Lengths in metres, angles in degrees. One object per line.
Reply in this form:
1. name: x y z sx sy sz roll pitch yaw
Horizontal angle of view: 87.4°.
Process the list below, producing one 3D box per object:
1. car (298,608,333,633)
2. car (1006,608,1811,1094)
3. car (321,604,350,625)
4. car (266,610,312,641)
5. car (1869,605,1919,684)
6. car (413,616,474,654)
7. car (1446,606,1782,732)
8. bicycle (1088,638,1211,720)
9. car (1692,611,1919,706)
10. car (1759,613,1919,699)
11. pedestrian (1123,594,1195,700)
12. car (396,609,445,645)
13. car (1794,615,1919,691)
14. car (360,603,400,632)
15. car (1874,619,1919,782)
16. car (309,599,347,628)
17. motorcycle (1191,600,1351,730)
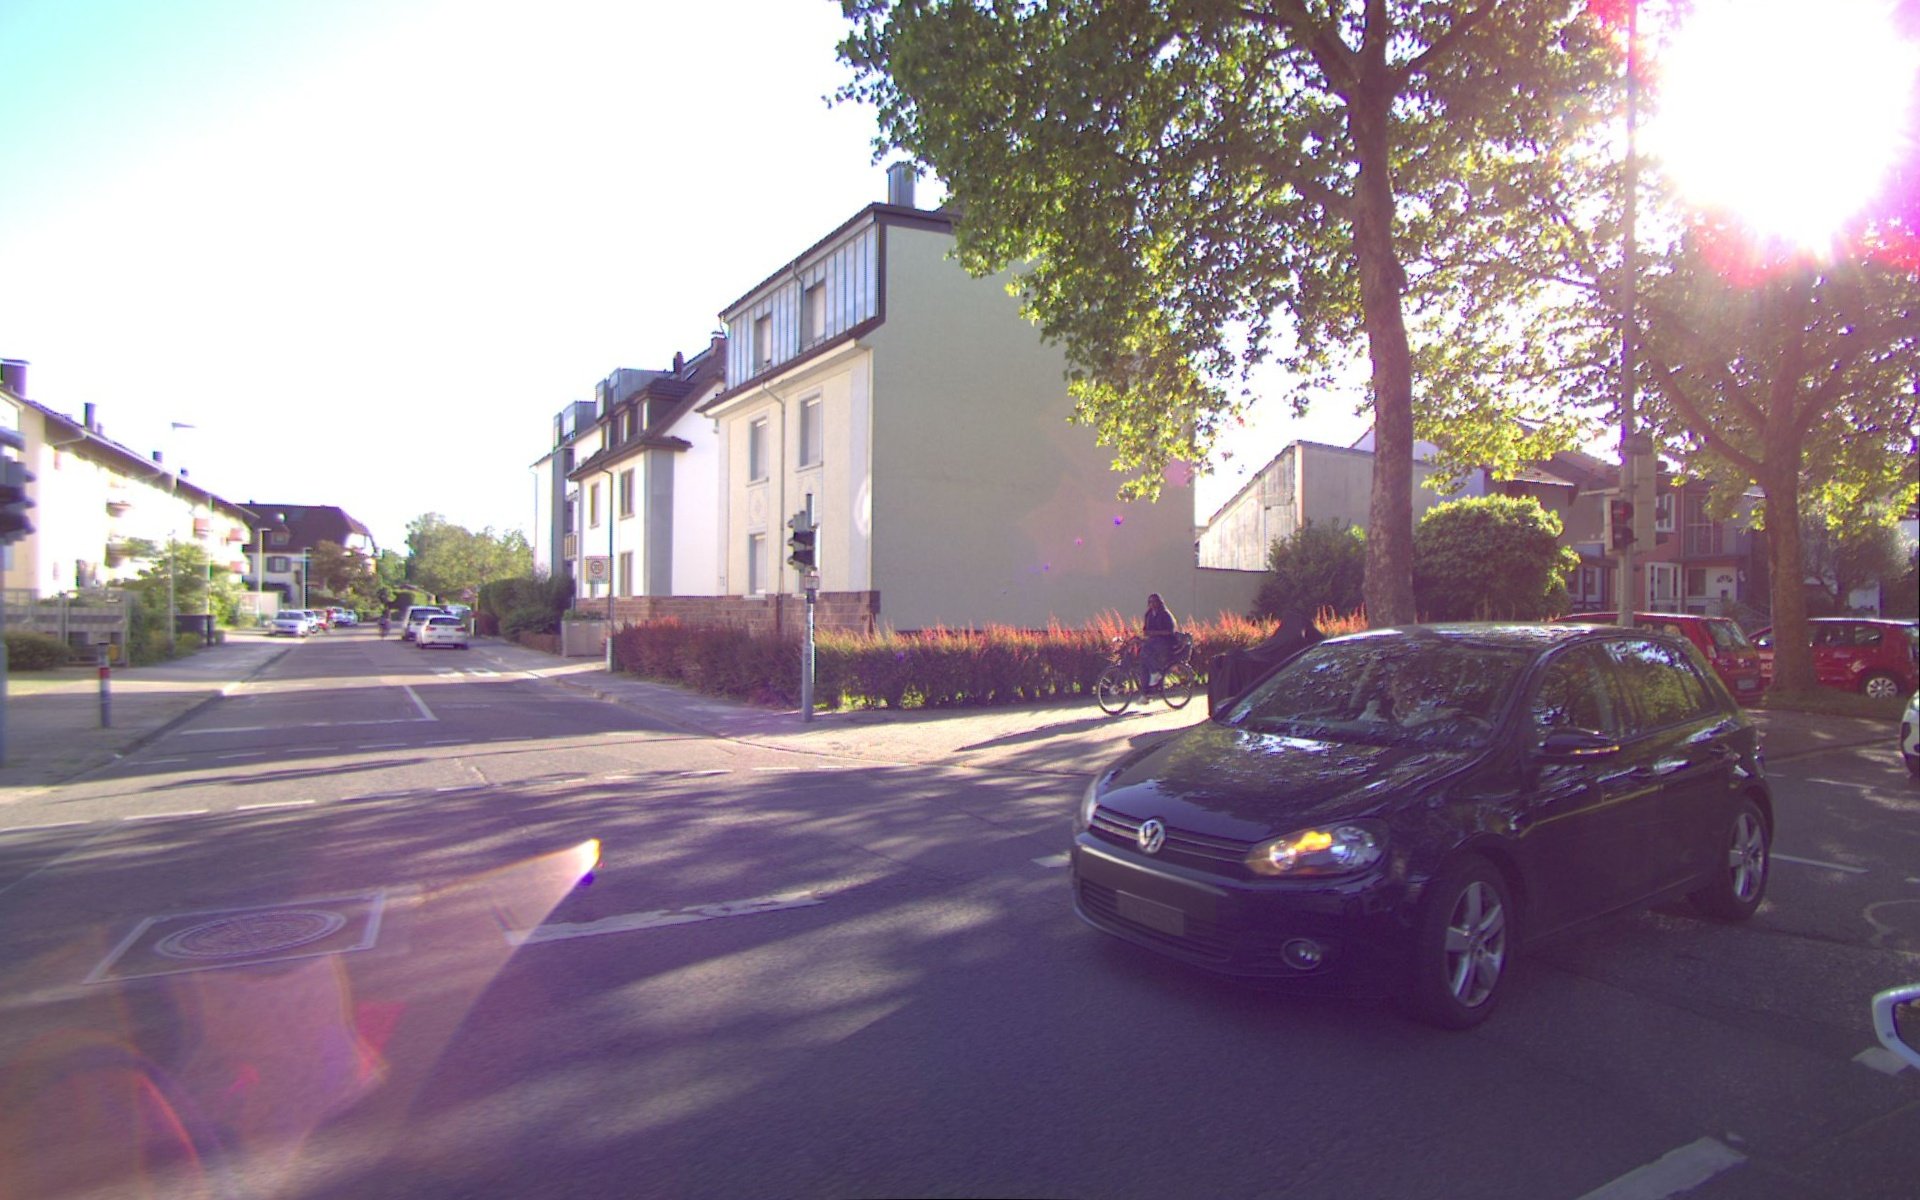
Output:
1. car: -45.575 1.416 71.083 1.977 1.692 3.967 1 -1 -31
2. car: 2.355 0.818 4.912 4.025 1.483 1.716 2 -1 -33
3. car: -52.017 1.197 83.754 1.977 1.692 3.967 1 -1 -31
4. car: -37.991 1.433 56.950 1.977 1.692 3.967 1 -1 -31
5. car: 22.551 1.014 21.609 1.809 1.739 4.073 1 0 -29
6. car: -22.292 1.477 43.308 1.978 1.507 3.964 1 -1 -33
7. car: 9.492 0.904 14.865 1.811 1.555 3.744 1 0 -31
8. bicycle: 2.884 1.152 15.129 2.132 1.056 0.505 -2 1 -37
9. car: 15.877 1.011 18.634 1.676 1.499 3.323 1 1 -30
10. car: 18.218 1.071 19.271 1.854 1.521 4.140 1 0 -31
11. pedestrian: 3.029 0.692 15.246 1.024 1.552 0.505 -1 1 -36
12. car: -28.360 1.374 52.778 1.978 1.792 3.964 1 -1 -33
13. car: 20.257 1.120 21.183 1.733 1.503 3.742 1 0 -29
14. car: -36.842 1.097 63.753 1.978 1.792 3.964 1 -1 -33
15. car: 11.007 0.987 9.935 4.044 1.521 1.709 1 0 -29
16. car: -41.150 0.861 65.404 1.978 1.792 3.964 1 -1 -33
17. motorcycle: 4.430 0.851 14.215 2.367 1.660 0.972 -1 1 -37
